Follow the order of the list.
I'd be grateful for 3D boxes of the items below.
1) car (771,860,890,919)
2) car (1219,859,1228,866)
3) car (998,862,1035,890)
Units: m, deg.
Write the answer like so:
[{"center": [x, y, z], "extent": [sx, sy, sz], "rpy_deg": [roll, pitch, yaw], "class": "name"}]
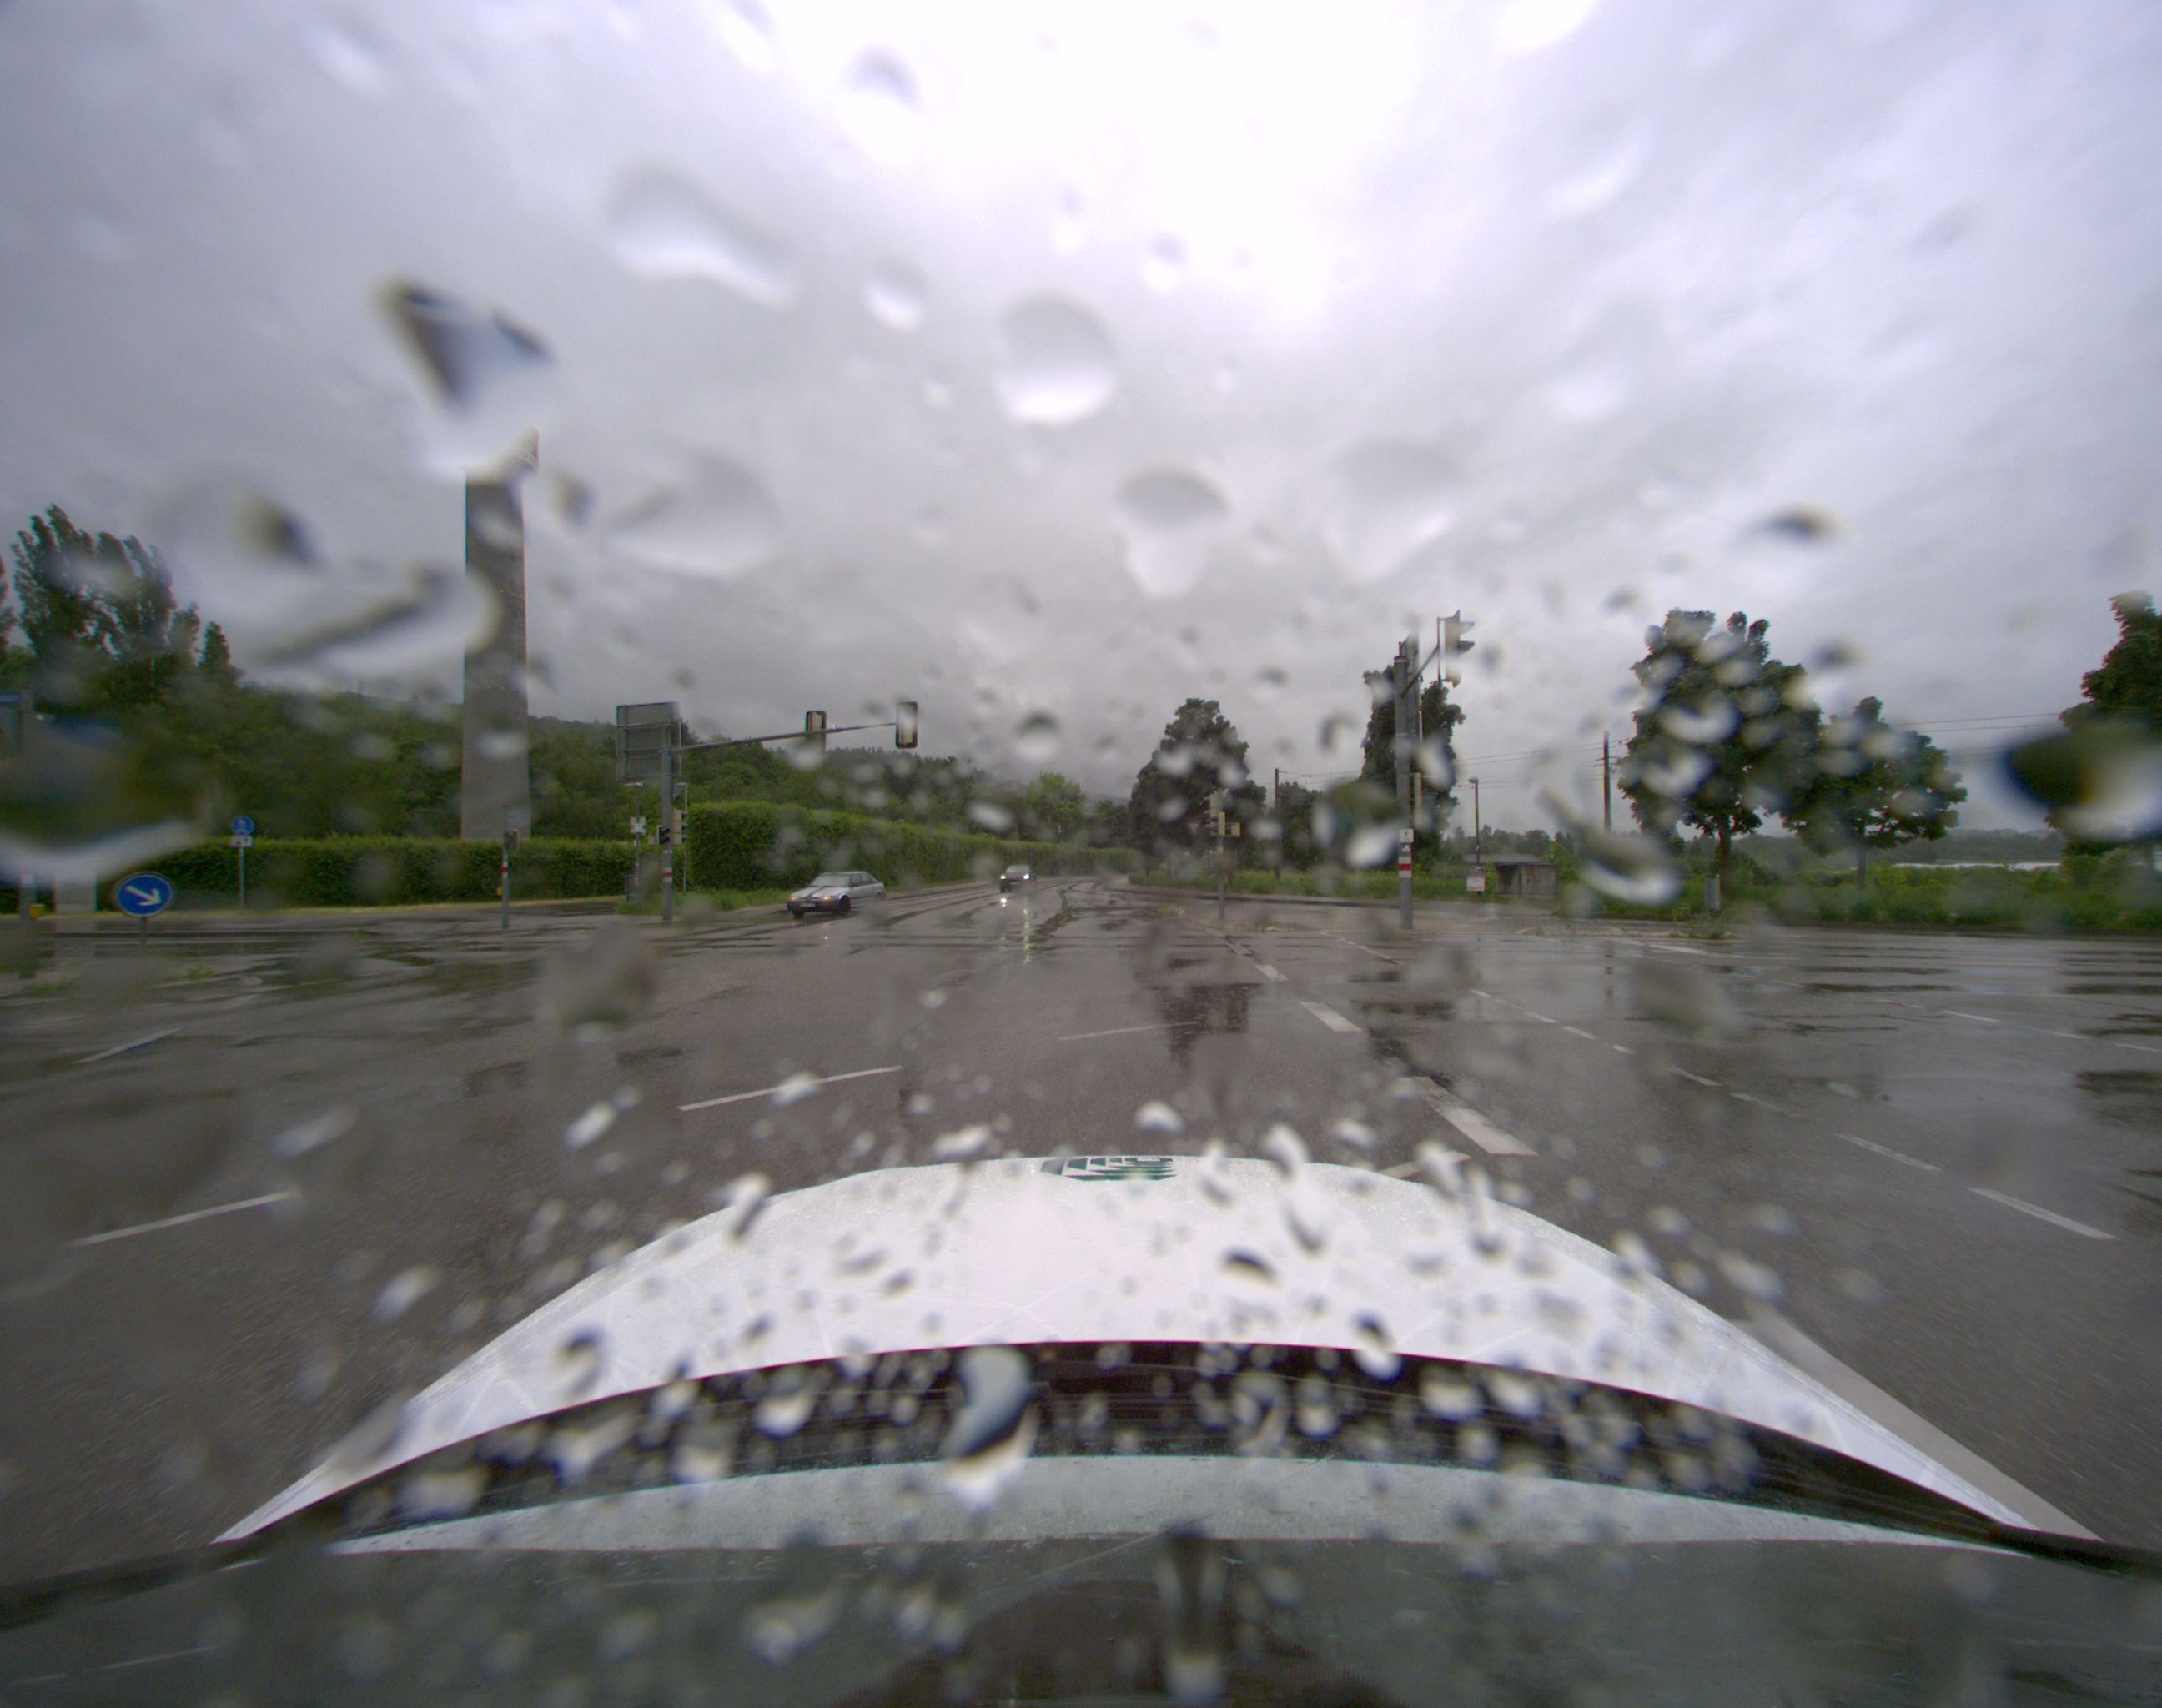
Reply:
[{"center": [-8.076, 1.083, 26.665], "extent": [2.024, 1.708, 4.078], "rpy_deg": [0, 0, 11], "class": "car"}, {"center": [41.189, 2.358, 235.229], "extent": [1.939, 1.904, 4.137], "rpy_deg": [-1, 0, 16], "class": "car"}, {"center": [-3.706, 1.245, 47.435], "extent": [1.779, 1.505, 4.061], "rpy_deg": [-1, 0, 0], "class": "car"}]
